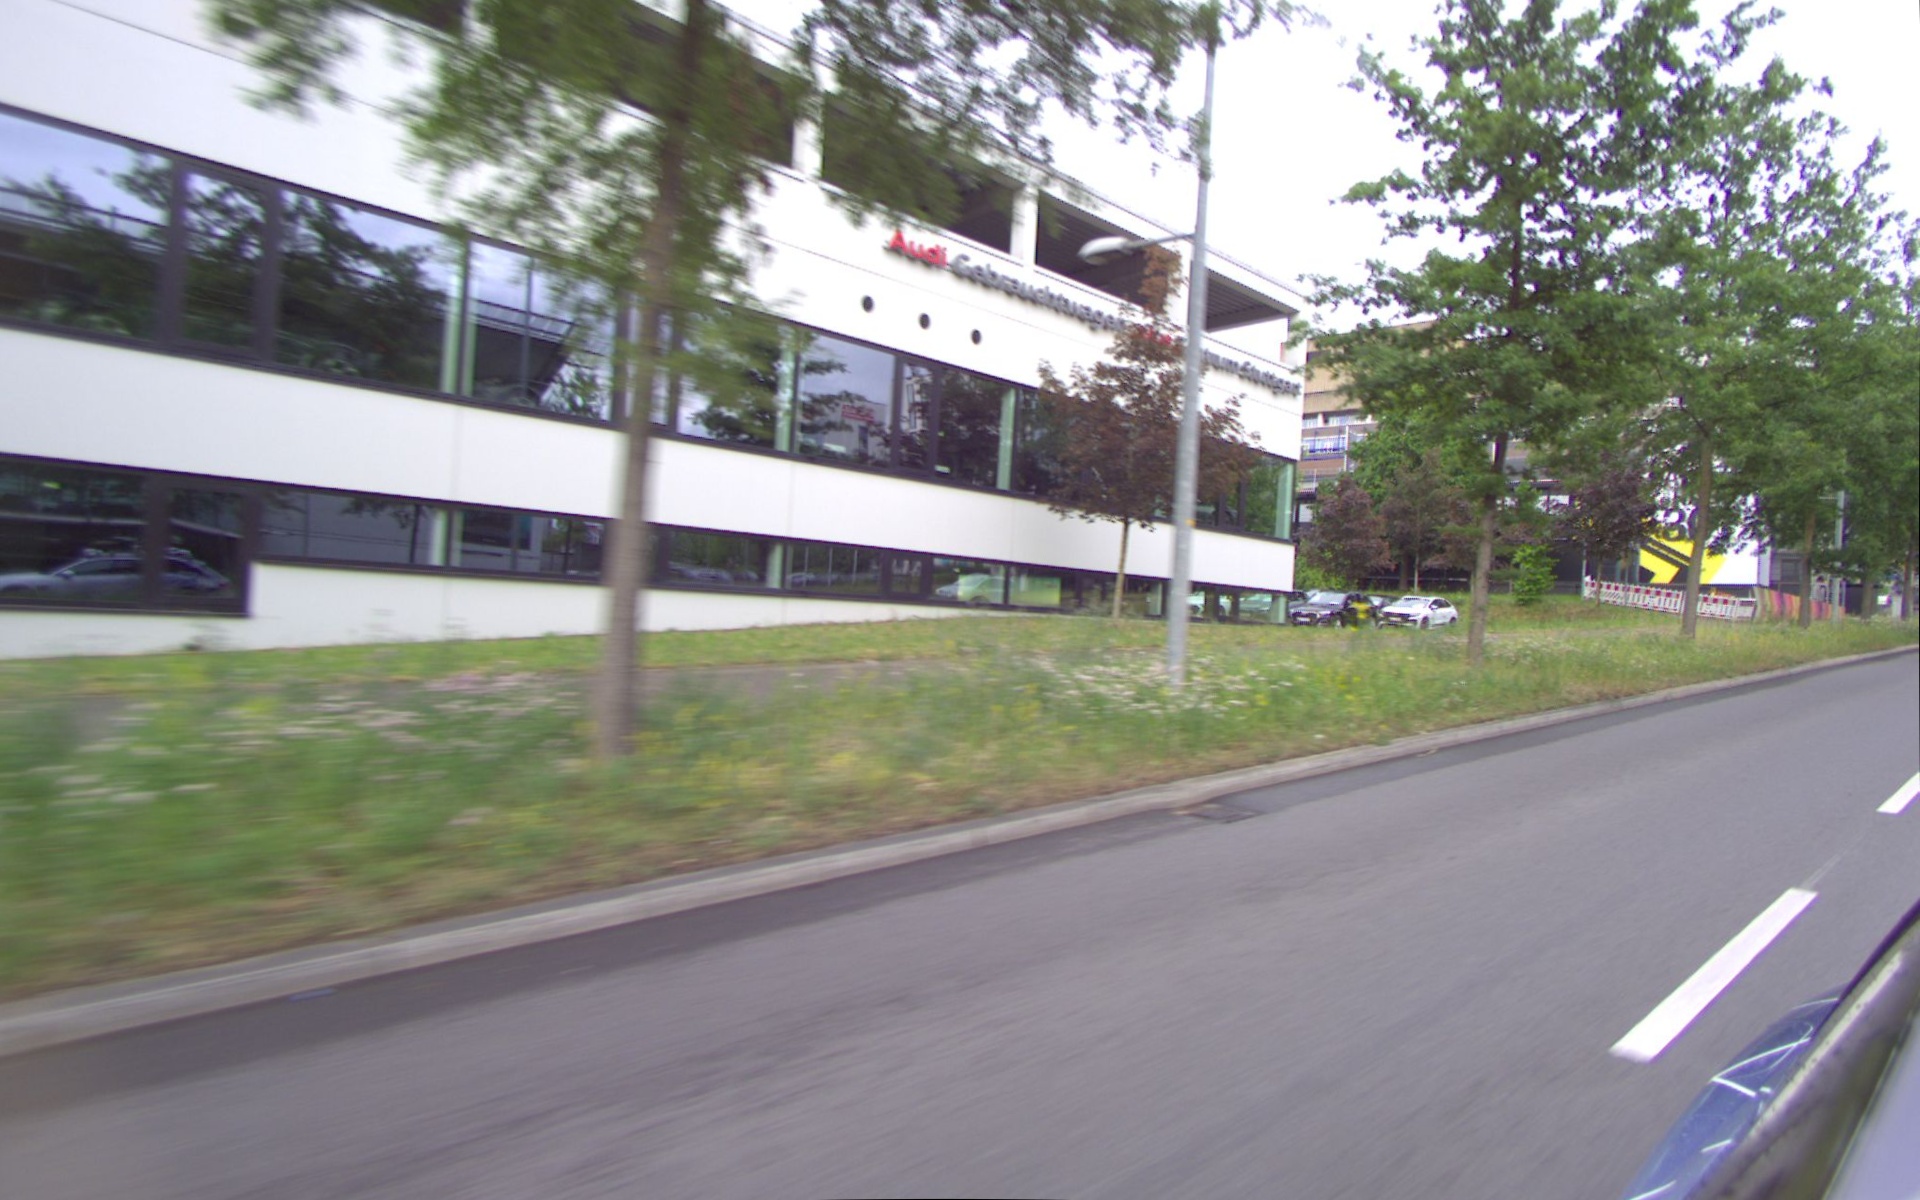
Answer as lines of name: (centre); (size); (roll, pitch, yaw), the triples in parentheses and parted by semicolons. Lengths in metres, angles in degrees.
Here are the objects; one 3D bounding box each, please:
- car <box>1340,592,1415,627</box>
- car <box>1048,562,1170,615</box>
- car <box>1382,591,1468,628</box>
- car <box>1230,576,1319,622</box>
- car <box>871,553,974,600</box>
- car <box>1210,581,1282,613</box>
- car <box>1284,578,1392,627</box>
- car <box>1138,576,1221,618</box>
car: (18.835, 0.388, 45.601); (3.579, 1.503, 1.700); (-1, 0, -41)
car: (5.944, -0.454, 40.568); (4.443, 1.697, 1.704); (5, 0, -3)
car: (19.877, 0.382, 43.187); (4.384, 1.503, 1.700); (-1, 0, -41)
car: (12.500, -0.065, 40.142); (3.579, 1.696, 1.701); (-1, 4, -41)
car: (-1.723, -1.053, 45.687); (4.443, 1.697, 1.704); (5, 0, -3)
car: (13.811, -0.142, 48.808); (3.579, 1.503, 1.700); (-1, 0, -41)
car: (14.396, 0.060, 38.446); (4.510, 1.696, 1.907); (-1, 3, -41)
car: (9.444, -0.140, 43.450); (3.579, 1.697, 1.700); (-1, -1, -41)
